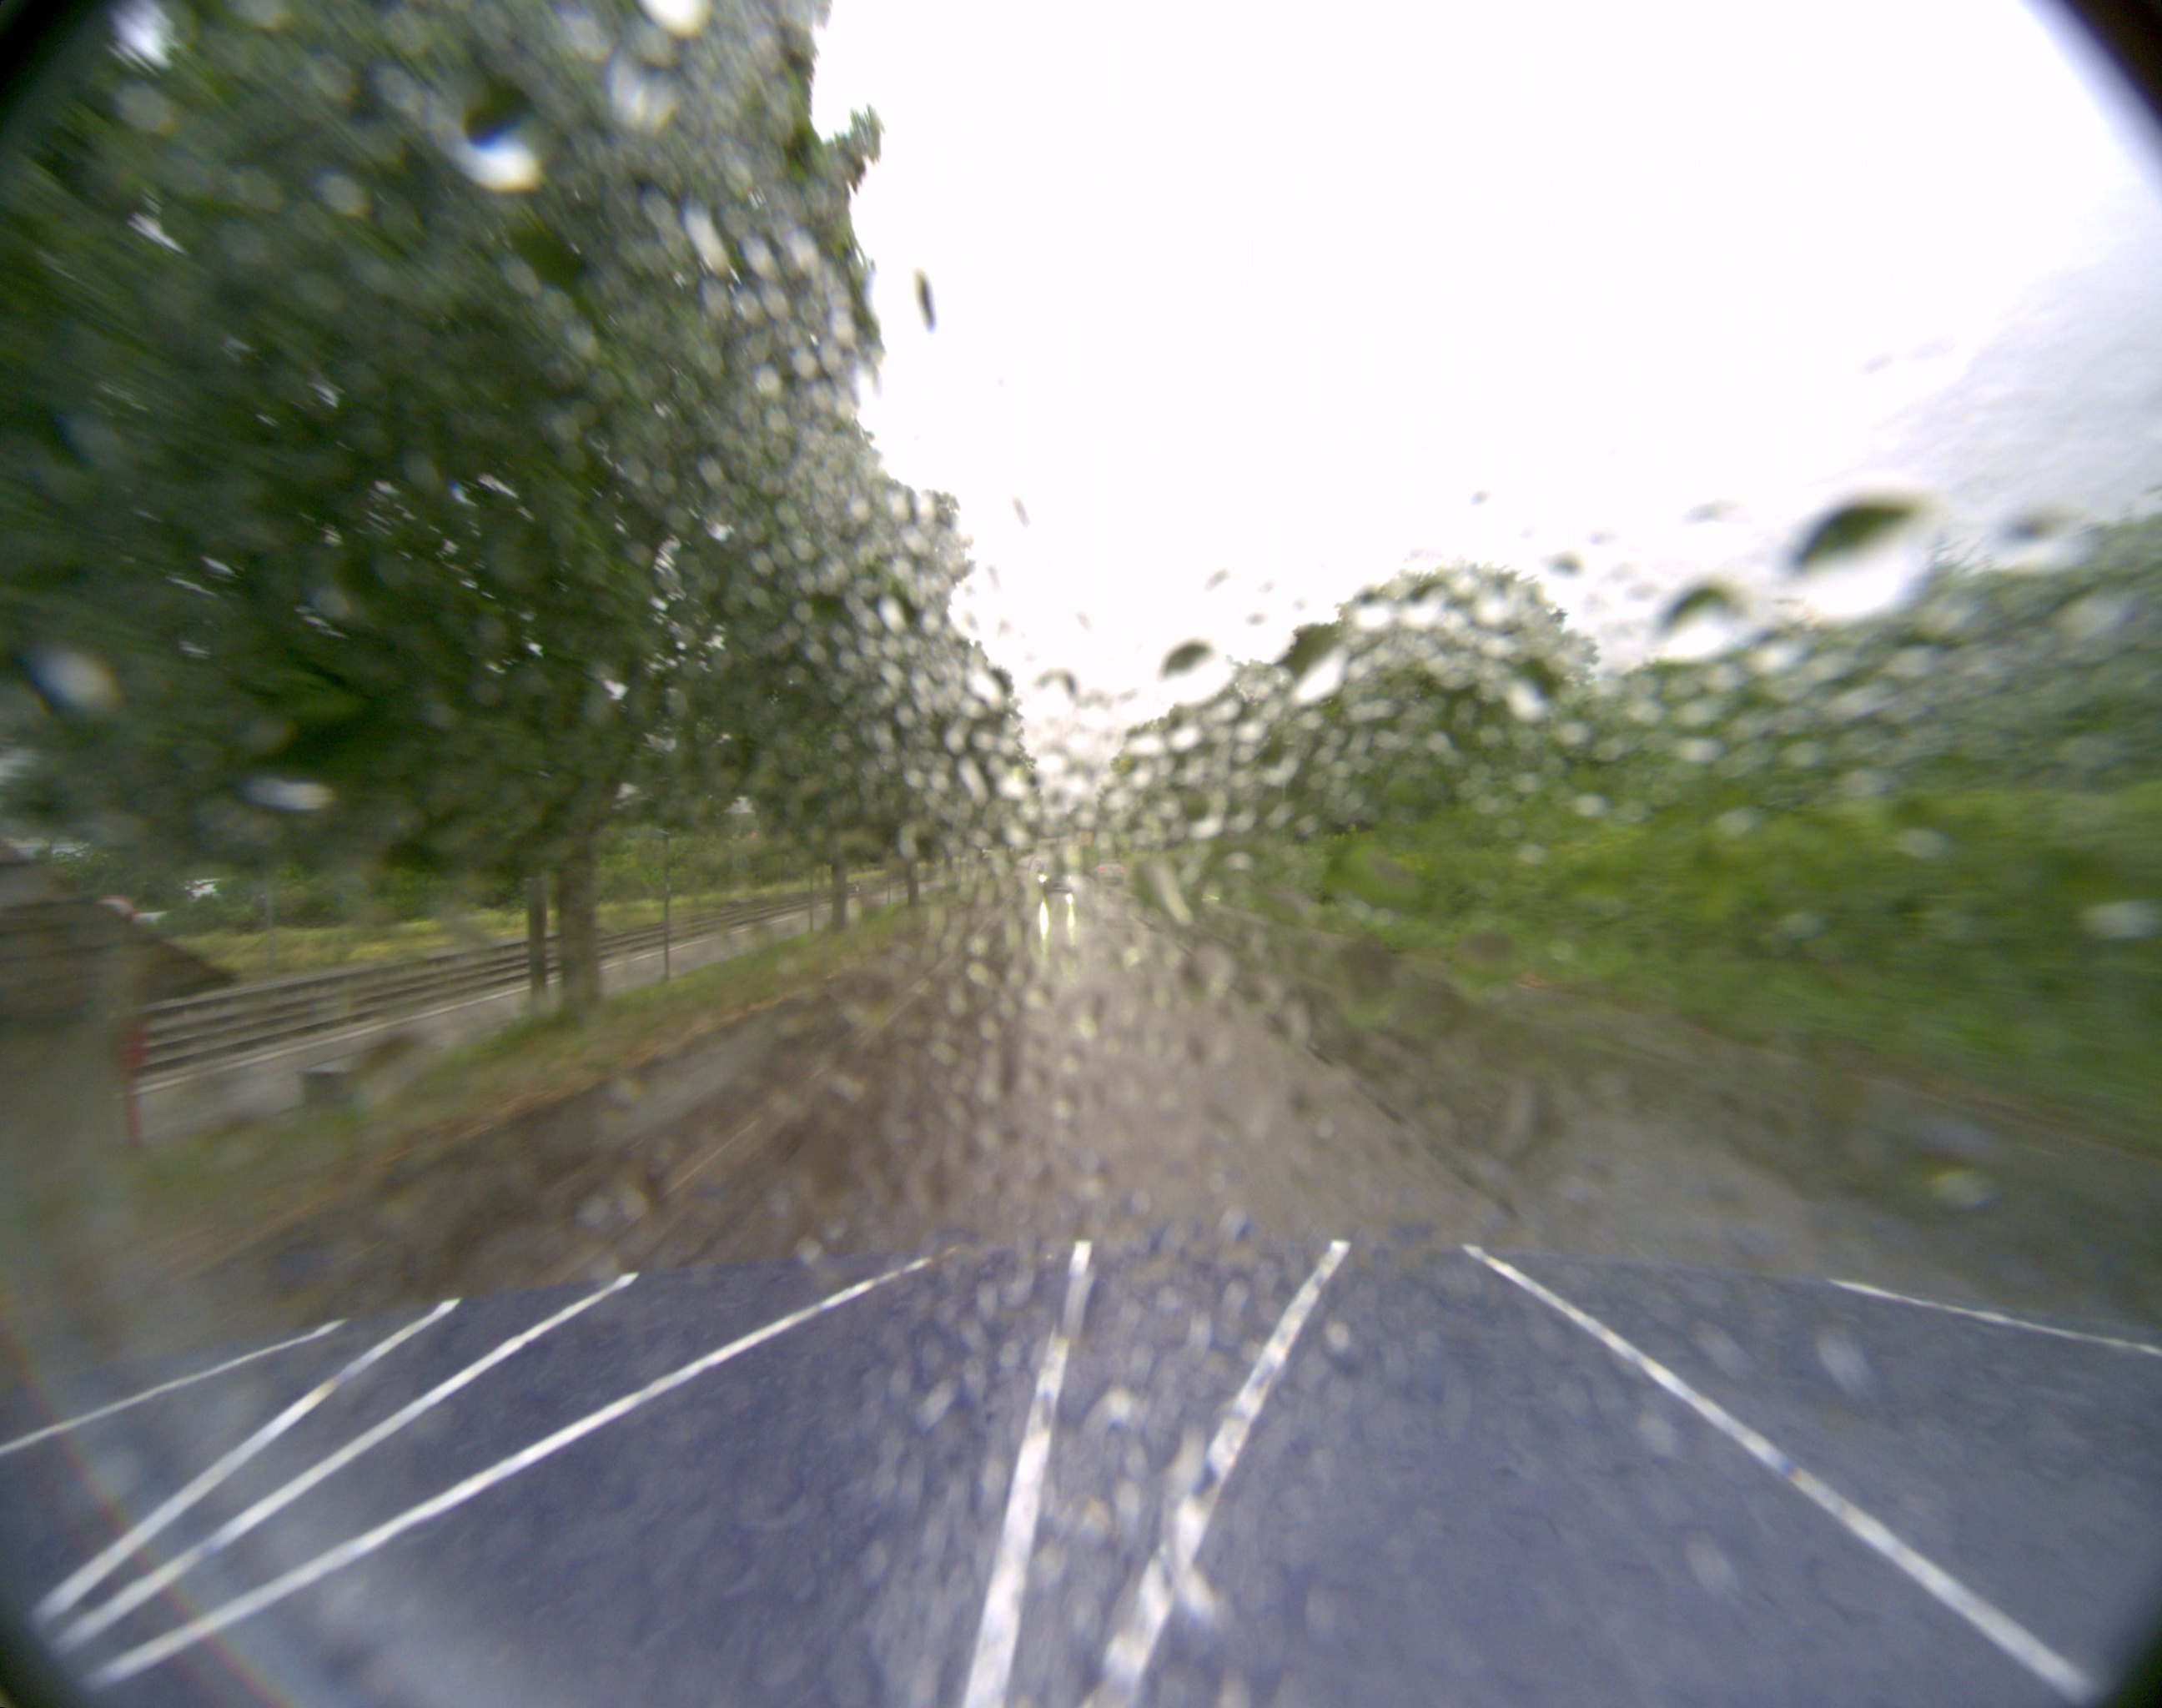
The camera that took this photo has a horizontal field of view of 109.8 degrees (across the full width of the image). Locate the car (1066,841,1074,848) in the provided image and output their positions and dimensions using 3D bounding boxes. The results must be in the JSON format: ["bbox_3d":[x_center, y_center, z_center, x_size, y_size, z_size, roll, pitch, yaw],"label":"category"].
[{"bbox_3d":[-2.758,-2.399,191.072,1.765,1.611,3.788,0,1,-4],"label":"car"}]

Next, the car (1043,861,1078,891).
[{"bbox_3d":[-1.090,1.179,41.415,1.765,1.477,3.790,0,1,0],"label":"car"}]

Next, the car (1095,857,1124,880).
[{"bbox_3d":[1.868,0.960,51.186,1.786,1.496,4.000,-1,-1,0],"label":"car"}]
